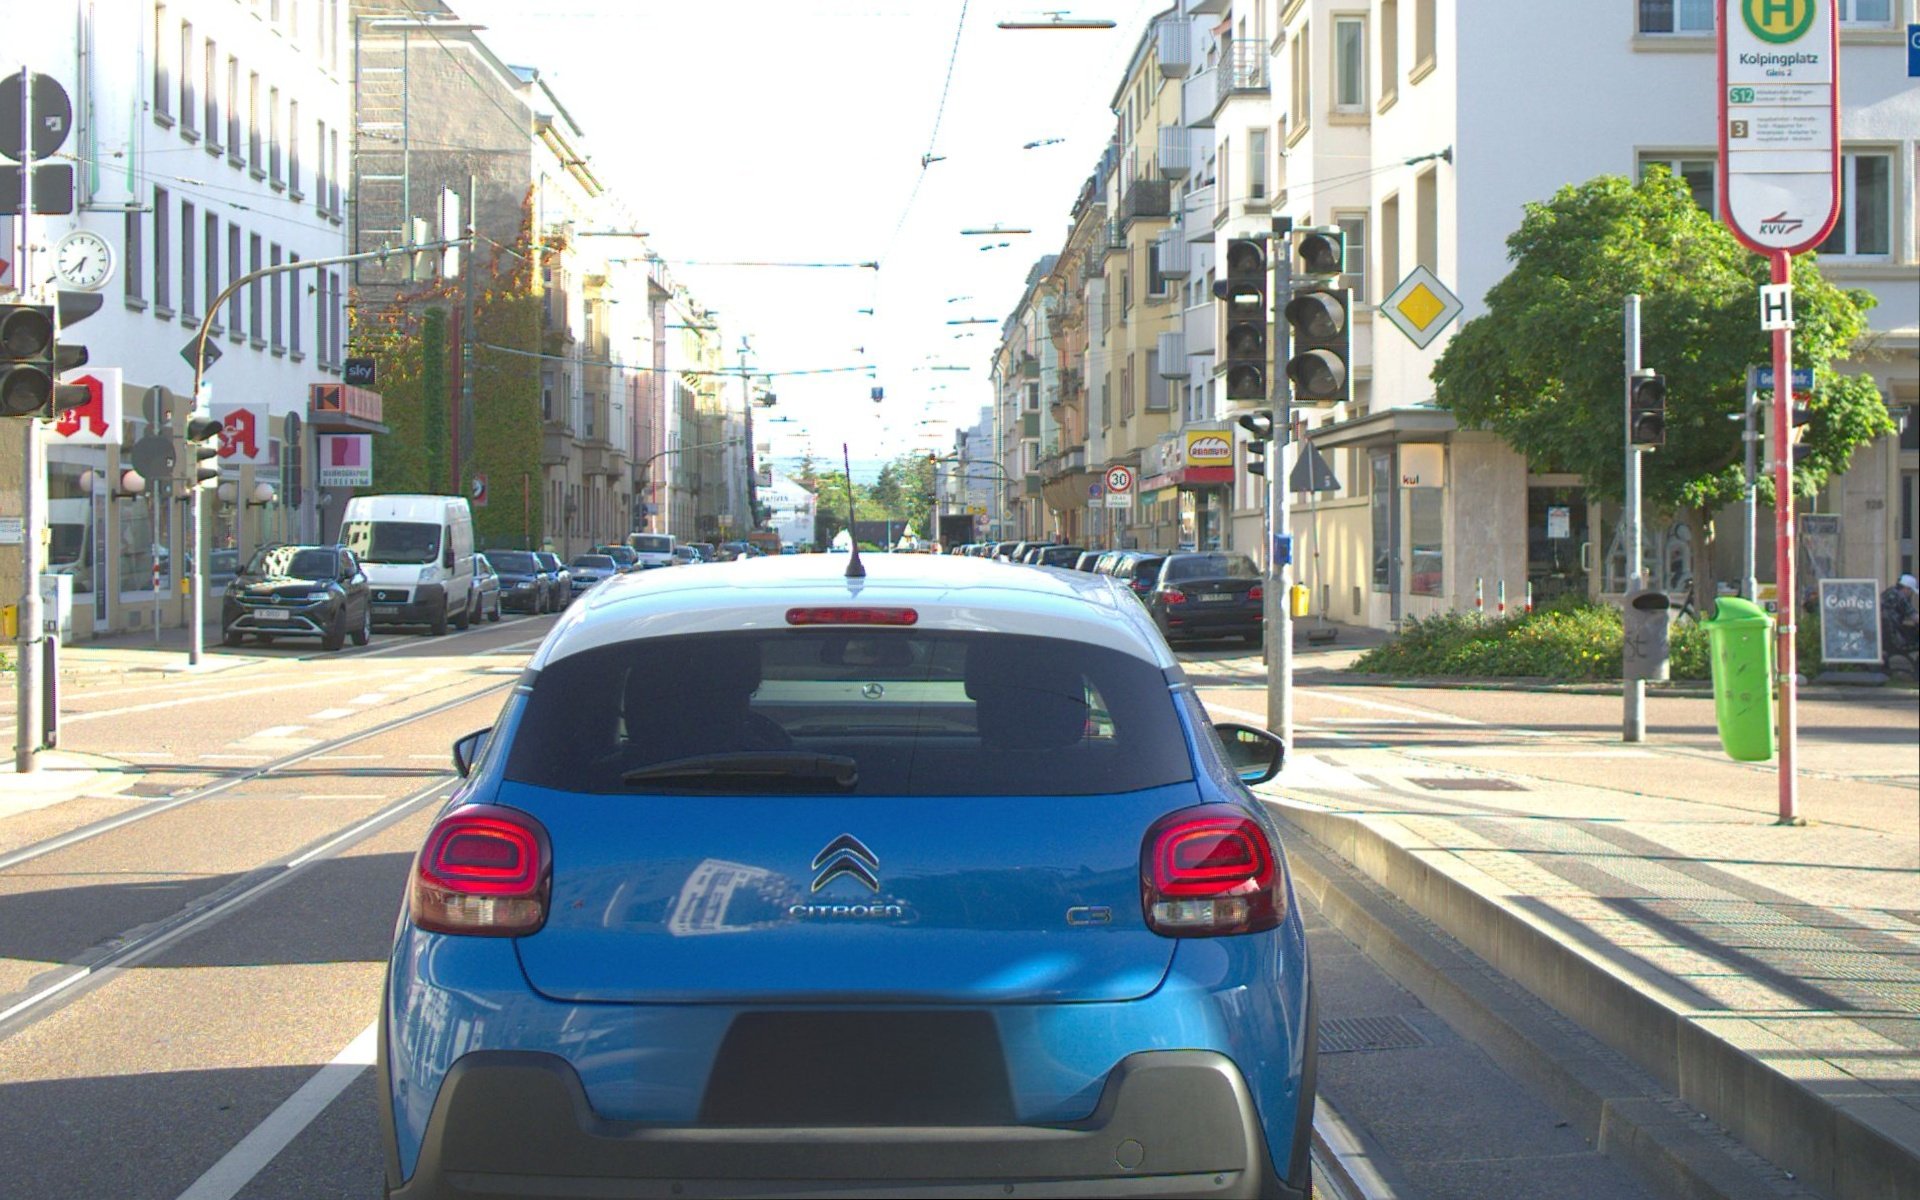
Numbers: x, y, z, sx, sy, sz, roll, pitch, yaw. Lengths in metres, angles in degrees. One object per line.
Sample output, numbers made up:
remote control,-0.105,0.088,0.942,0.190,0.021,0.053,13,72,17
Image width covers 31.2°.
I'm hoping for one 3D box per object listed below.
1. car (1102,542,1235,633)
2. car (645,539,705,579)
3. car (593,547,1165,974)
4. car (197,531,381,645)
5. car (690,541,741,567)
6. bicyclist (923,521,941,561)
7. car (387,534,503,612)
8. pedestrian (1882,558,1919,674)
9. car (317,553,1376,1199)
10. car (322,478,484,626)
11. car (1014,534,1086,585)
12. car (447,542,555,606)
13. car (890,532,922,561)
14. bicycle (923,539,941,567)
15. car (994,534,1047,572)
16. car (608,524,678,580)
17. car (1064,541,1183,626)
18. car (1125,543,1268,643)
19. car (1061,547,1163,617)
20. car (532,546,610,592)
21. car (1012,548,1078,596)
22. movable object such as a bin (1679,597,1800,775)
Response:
car,3.440,-0.234,57.364,1.993,1.459,4.000,0,1,0
car,-11.324,-1.631,136.789,1.955,1.547,3.938,1,0,2
car,-0.320,0.528,14.479,1.984,1.459,4.816,1,1,-1
car,-10.172,-0.197,52.411,1.993,1.563,4.403,3,0,-2
car,-10.949,-2.071,154.187,1.993,1.152,4.000,0,1,0
bicyclist,-1.399,-2.935,171.614,0.809,2.007,0.922,1,0,-2
car,-10.375,-0.545,69.477,1.888,1.491,3.562,1,0,-2
pedestrian,10.906,0.175,39.077,0.741,1.311,0.627,0,1,23
car,-0.218,0.656,7.582,1.728,1.477,3.827,1,1,-1
car,-10.081,-0.874,62.671,2.085,2.533,6.206,1,1,-2
car,2.644,-1.210,101.836,1.993,1.459,4.504,0,1,0
car,-10.405,-0.593,78.138,1.993,1.393,4.157,1,0,-2
car,-3.388,-3.347,215.339,1.993,1.766,4.000,0,1,-1
bicycle,-1.390,-2.372,172.035,0.920,1.384,3.132,0,1,0
car,2.320,-1.832,133.188,1.993,1.459,4.000,0,1,0
car,-11.661,-1.753,126.708,2.006,2.007,4.689,1,0,1
car,2.957,-0.323,62.929,1.993,1.496,4.000,0,1,0
car,3.578,-0.136,52.511,1.909,1.459,4.000,0,1,0
car,3.197,-0.402,72.943,1.993,1.459,4.000,0,1,0
car,-11.660,-0.920,103.202,1.993,1.320,3.923,1,0,-2
car,2.626,-0.872,106.290,1.993,1.459,4.000,0,1,1
movable object such as a bin,3.515,0.380,15.518,0.449,0.783,0.489,0,1,2
